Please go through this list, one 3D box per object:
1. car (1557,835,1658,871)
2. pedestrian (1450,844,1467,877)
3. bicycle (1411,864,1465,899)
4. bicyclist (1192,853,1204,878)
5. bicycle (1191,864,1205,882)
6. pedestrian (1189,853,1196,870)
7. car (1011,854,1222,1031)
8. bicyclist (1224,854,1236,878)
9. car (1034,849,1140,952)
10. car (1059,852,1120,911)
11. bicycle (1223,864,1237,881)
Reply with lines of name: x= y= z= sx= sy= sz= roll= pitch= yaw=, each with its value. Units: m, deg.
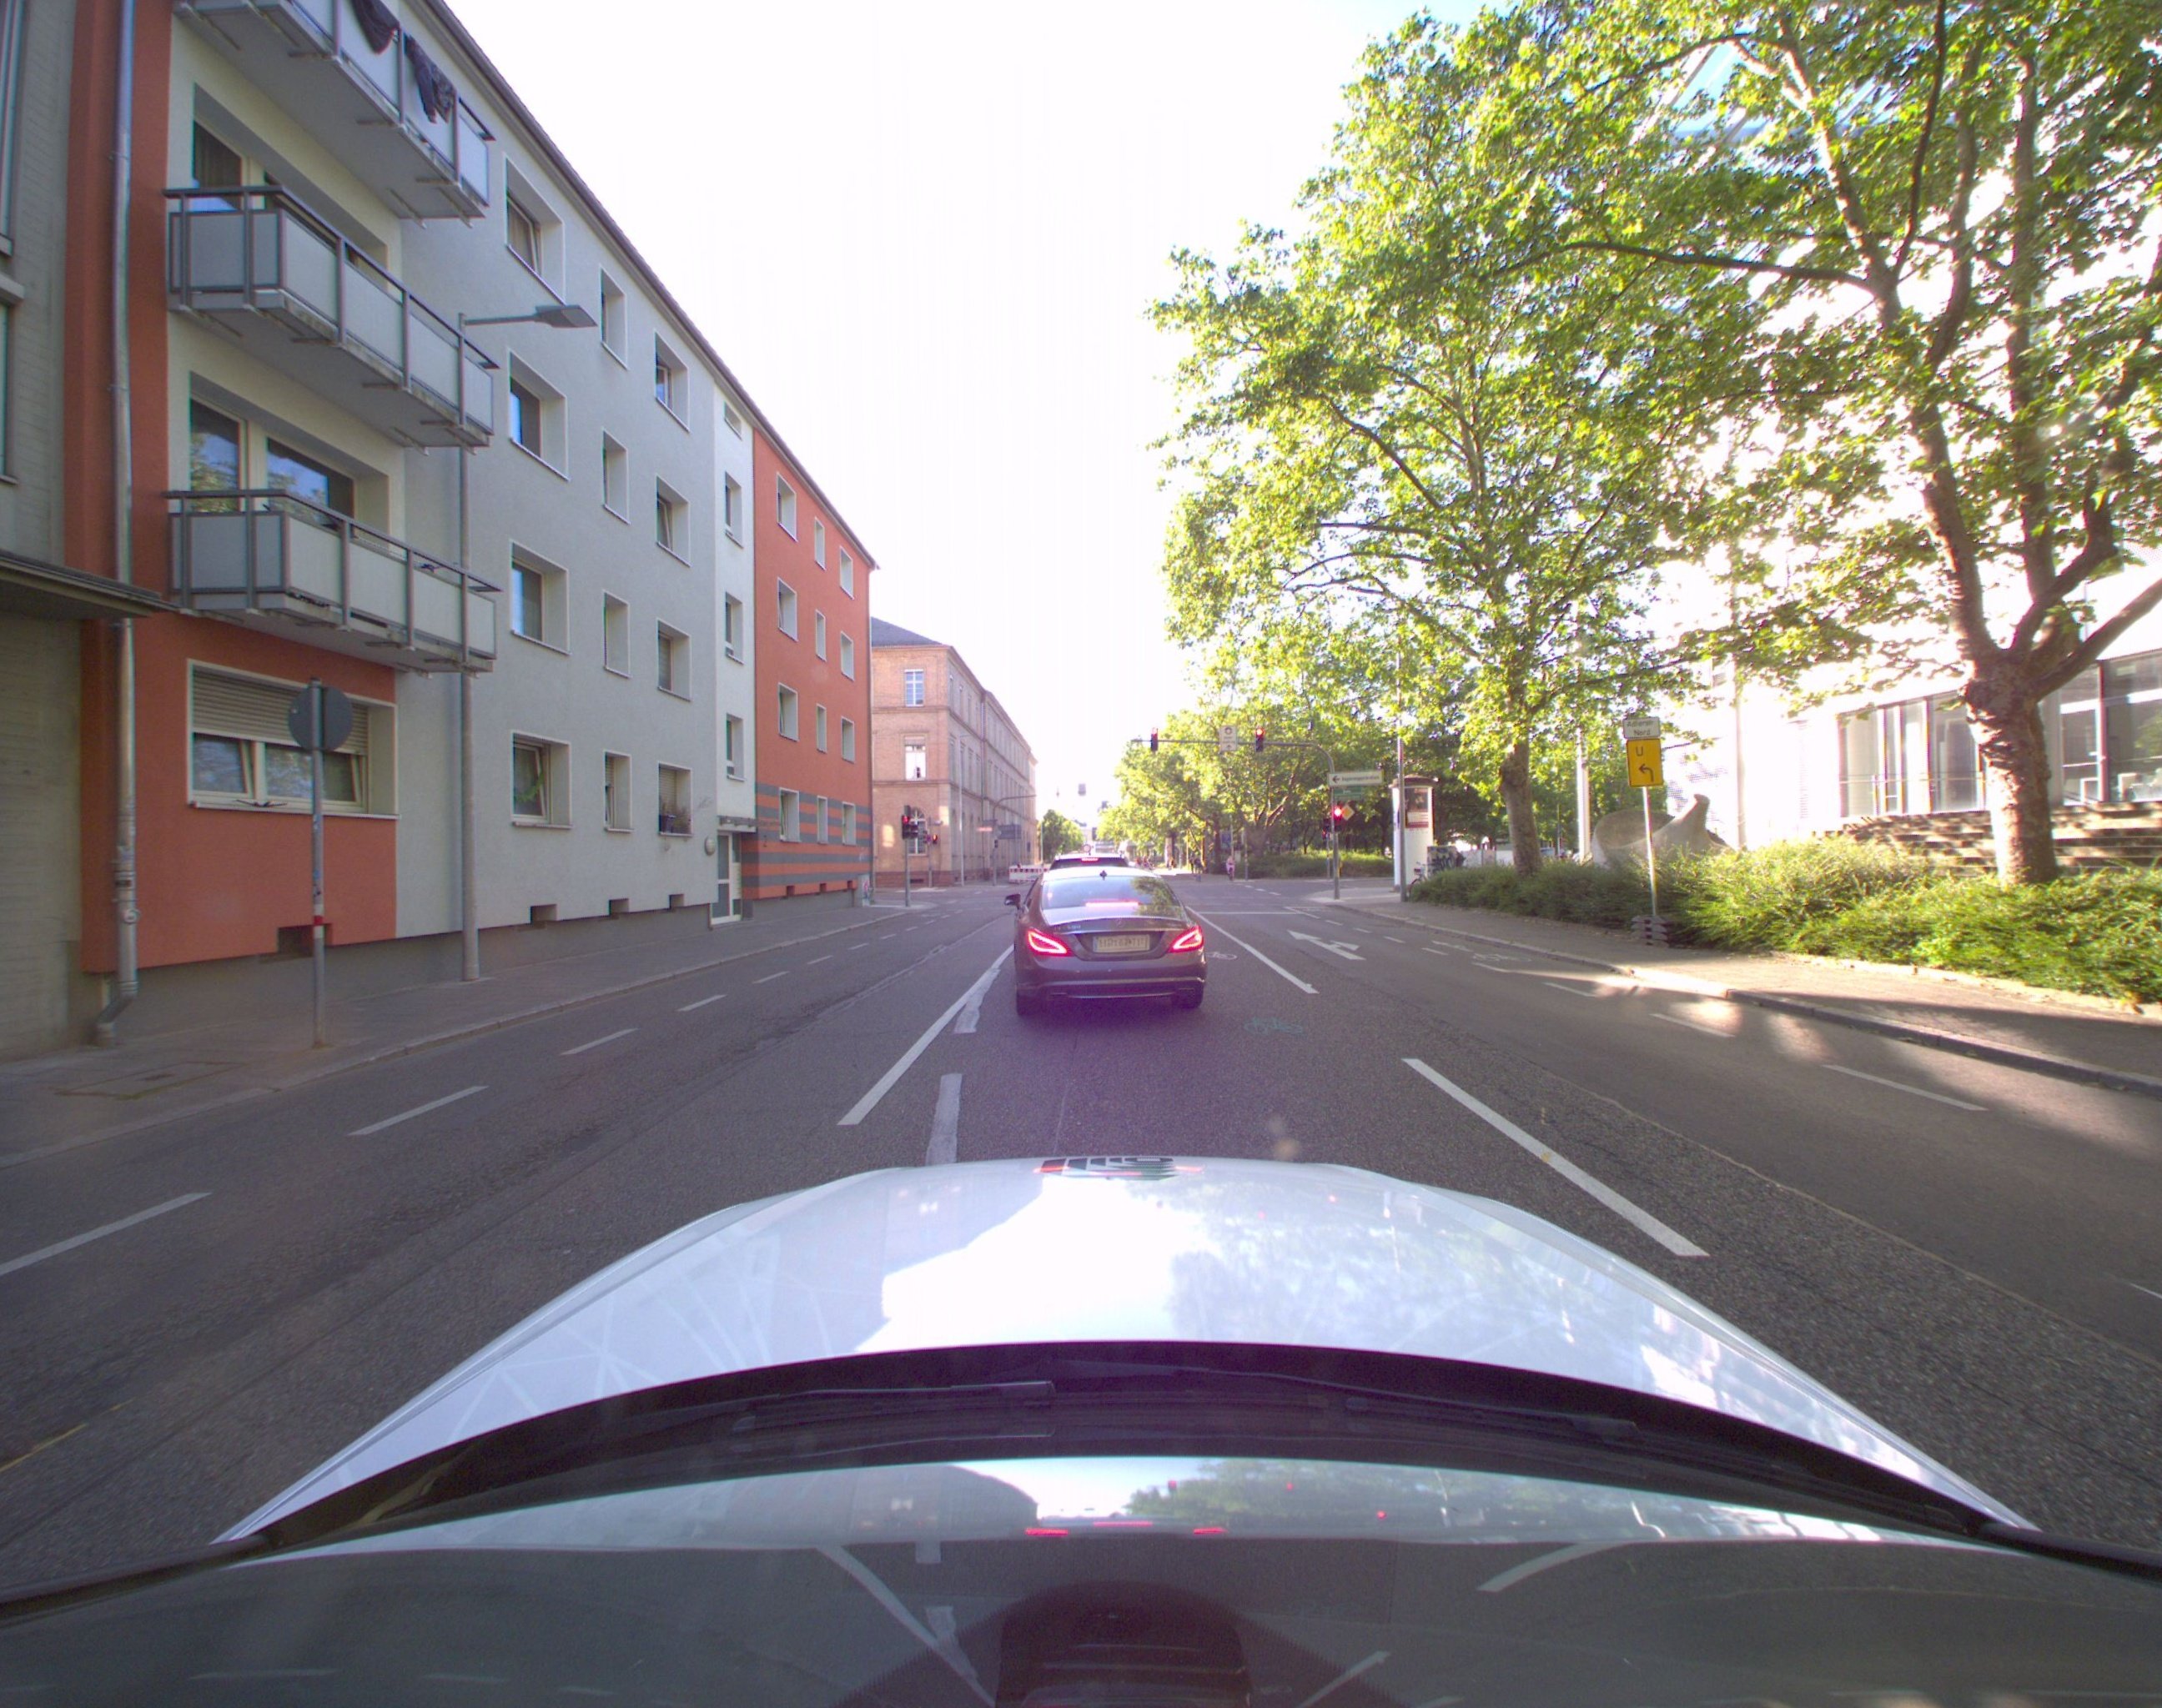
car: x=27.744 y=-0.040 z=43.036 sx=3.975 sy=1.784 sz=2.004 roll=-1 pitch=0 yaw=6
pedestrian: x=20.992 y=0.350 z=45.286 sx=0.617 sy=1.784 sz=0.631 roll=-1 pitch=0 yaw=4
bicycle: x=10.864 y=0.823 z=24.795 sx=1.411 sy=1.037 sz=0.538 roll=-1 pitch=0 yaw=-2
bicyclist: x=7.125 y=0.721 z=49.639 sx=0.608 sy=1.516 sz=0.890 roll=0 pitch=0 yaw=1
bicycle: x=7.128 y=1.144 z=49.702 sx=0.608 sy=1.026 sz=1.732 roll=0 pitch=0 yaw=2
pedestrian: x=10.643 y=0.727 z=77.934 sx=0.557 sy=1.678 sz=0.565 roll=-1 pitch=-1 yaw=1
car: x=0.132 y=0.770 z=9.203 sx=1.818 sy=1.477 sz=4.345 roll=-1 pitch=0 yaw=-5
bicyclist: x=9.058 y=0.716 z=49.458 sx=0.598 sy=1.402 sz=0.931 roll=1 pitch=0 yaw=1
car: x=0.118 y=0.761 z=14.968 sx=1.676 sy=1.625 sz=3.841 roll=-1 pitch=0 yaw=0
car: x=0.252 y=0.771 z=24.792 sx=1.676 sy=1.625 sz=3.841 roll=-1 pitch=0 yaw=0
bicycle: x=9.059 y=1.114 z=49.529 sx=0.598 sy=0.985 sz=1.882 roll=1 pitch=0 yaw=2
